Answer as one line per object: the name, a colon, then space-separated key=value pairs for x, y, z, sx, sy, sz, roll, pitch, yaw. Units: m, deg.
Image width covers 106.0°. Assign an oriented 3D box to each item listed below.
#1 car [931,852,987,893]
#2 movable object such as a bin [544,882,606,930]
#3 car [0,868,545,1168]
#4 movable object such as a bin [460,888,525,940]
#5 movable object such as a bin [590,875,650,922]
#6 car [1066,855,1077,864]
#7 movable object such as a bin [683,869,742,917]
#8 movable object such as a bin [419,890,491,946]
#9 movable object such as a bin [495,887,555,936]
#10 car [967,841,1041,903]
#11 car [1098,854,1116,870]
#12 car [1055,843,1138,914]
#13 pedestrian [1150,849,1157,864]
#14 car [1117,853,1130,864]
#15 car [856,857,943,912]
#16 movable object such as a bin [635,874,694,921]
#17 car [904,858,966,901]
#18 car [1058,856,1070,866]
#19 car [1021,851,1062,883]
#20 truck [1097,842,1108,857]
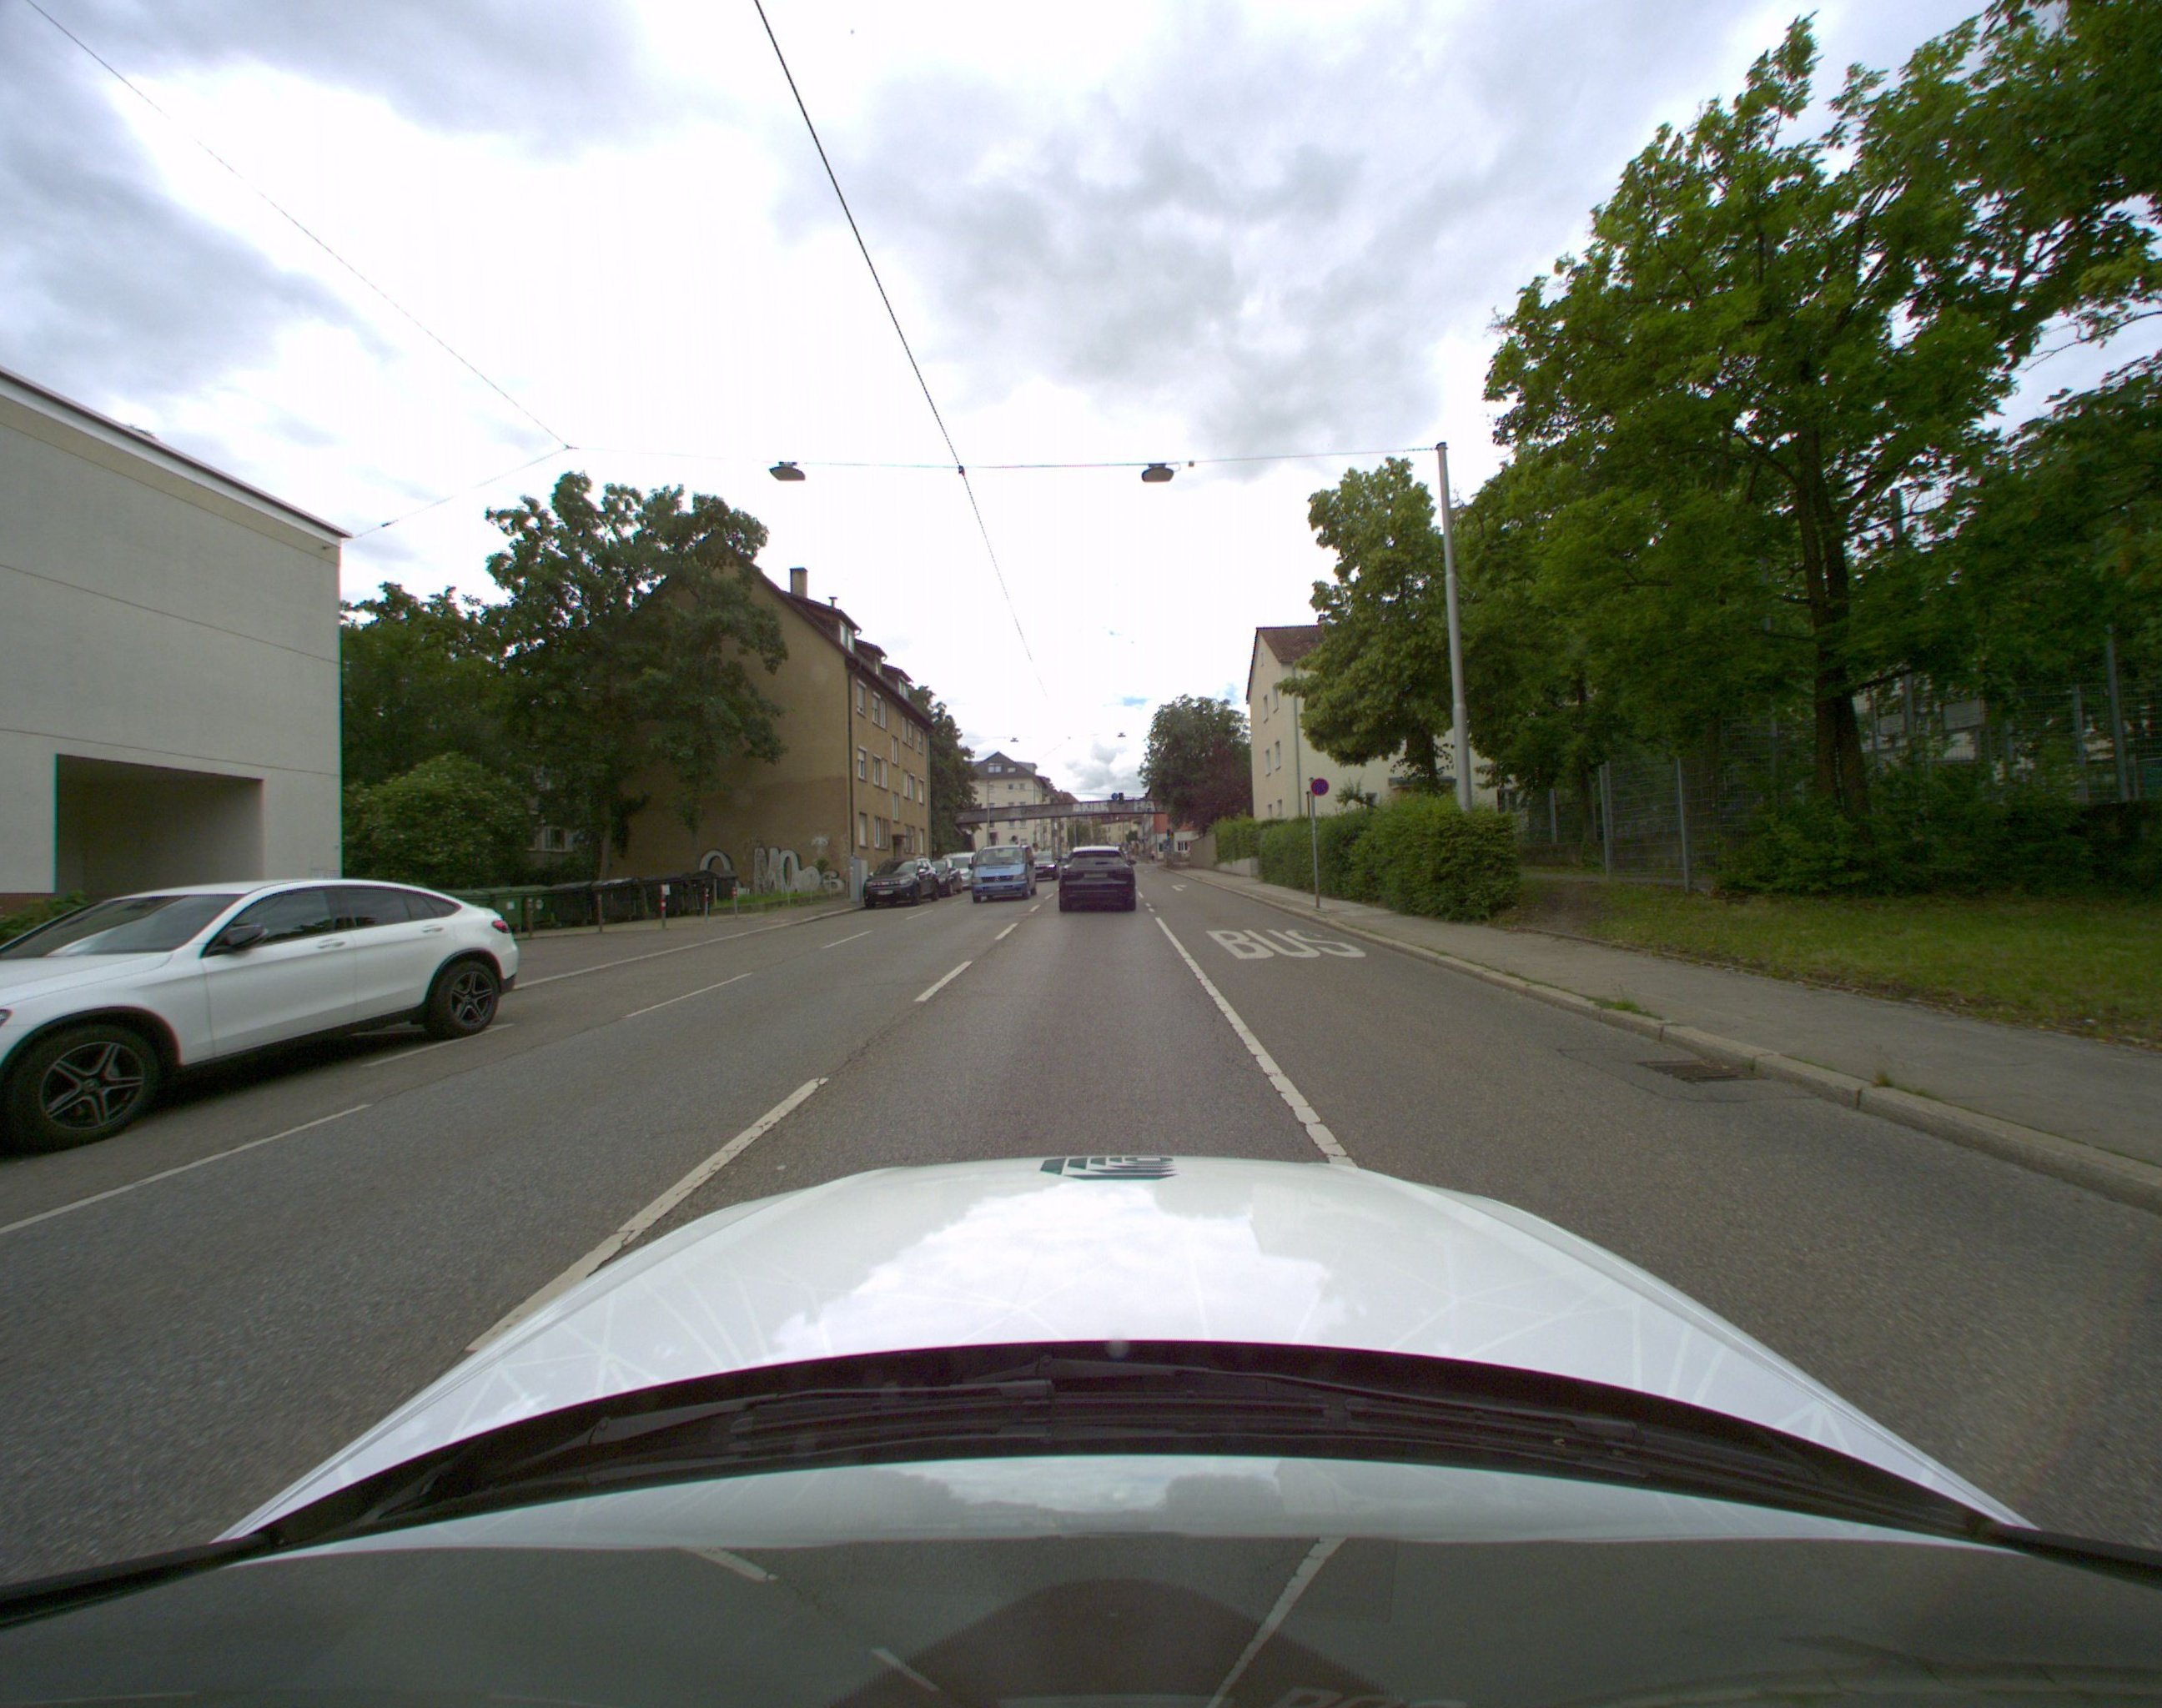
car: x=-5.802 y=0.834 z=39.290 sx=1.770 sy=1.754 sz=4.559 roll=-3 pitch=0 yaw=2
movable object such as a bin: x=-16.249 y=1.665 z=26.194 sx=1.388 sy=1.428 sz=0.913 roll=-1 pitch=0 yaw=-1
car: x=-6.924 y=1.003 z=6.540 sx=1.908 sy=1.577 sz=4.703 roll=-3 pitch=0 yaw=2
movable object such as a bin: x=-17.728 y=1.798 z=24.562 sx=0.907 sy=1.428 sz=1.397 roll=-1 pitch=0 yaw=-1
movable object such as a bin: x=-14.828 y=1.428 z=26.227 sx=1.388 sy=1.428 sz=0.913 roll=-1 pitch=0 yaw=-1
car: x=-1.747 y=1.039 z=152.691 sx=1.758 sy=1.650 sz=4.003 roll=-2 pitch=0 yaw=2
movable object such as a bin: x=-11.733 y=1.224 z=25.968 sx=1.278 sy=1.428 sz=1.278 roll=-1 pitch=0 yaw=-3
movable object such as a bin: x=-17.740 y=1.792 z=23.114 sx=0.907 sy=1.428 sz=1.397 roll=-1 pitch=0 yaw=-1
movable object such as a bin: x=-17.729 y=1.805 z=25.995 sx=0.907 sy=1.428 sz=1.397 roll=-1 pitch=0 yaw=-1
car: x=-2.581 y=0.562 z=28.358 sx=1.924 sy=1.900 sz=4.591 roll=-3 pitch=0 yaw=2
car: x=2.602 y=0.780 z=82.224 sx=1.734 sy=1.400 sz=4.002 roll=-2 pitch=1 yaw=2
car: x=0.452 y=0.578 z=21.994 sx=1.986 sy=1.662 sz=4.002 roll=-2 pitch=1 yaw=2
pedestrian: x=8.660 y=0.295 z=97.178 sx=0.650 sy=1.792 sz=0.714 roll=-2 pitch=0 yaw=-1
car: x=5.767 y=0.586 z=111.716 sx=1.734 sy=1.400 sz=4.002 roll=-2 pitch=1 yaw=2
car: x=-6.221 y=0.990 z=28.451 sx=1.775 sy=1.609 sz=4.268 roll=-4 pitch=0 yaw=3
movable object such as a bin: x=-13.393 y=1.394 z=26.249 sx=1.388 sy=1.428 sz=0.913 roll=-1 pitch=0 yaw=-1
car: x=-5.974 y=1.010 z=33.767 sx=1.746 sy=1.530 sz=4.098 roll=-3 pitch=0 yaw=0
car: x=-2.839 y=1.115 z=136.224 sx=1.758 sy=1.508 sz=4.003 roll=-2 pitch=0 yaw=2
car: x=-2.115 y=0.667 z=44.895 sx=1.833 sy=1.590 sz=4.166 roll=-3 pitch=0 yaw=2
truck: x=5.058 y=-0.991 z=188.895 sx=2.258 sy=3.424 sz=9.881 roll=-2 pitch=0 yaw=2
